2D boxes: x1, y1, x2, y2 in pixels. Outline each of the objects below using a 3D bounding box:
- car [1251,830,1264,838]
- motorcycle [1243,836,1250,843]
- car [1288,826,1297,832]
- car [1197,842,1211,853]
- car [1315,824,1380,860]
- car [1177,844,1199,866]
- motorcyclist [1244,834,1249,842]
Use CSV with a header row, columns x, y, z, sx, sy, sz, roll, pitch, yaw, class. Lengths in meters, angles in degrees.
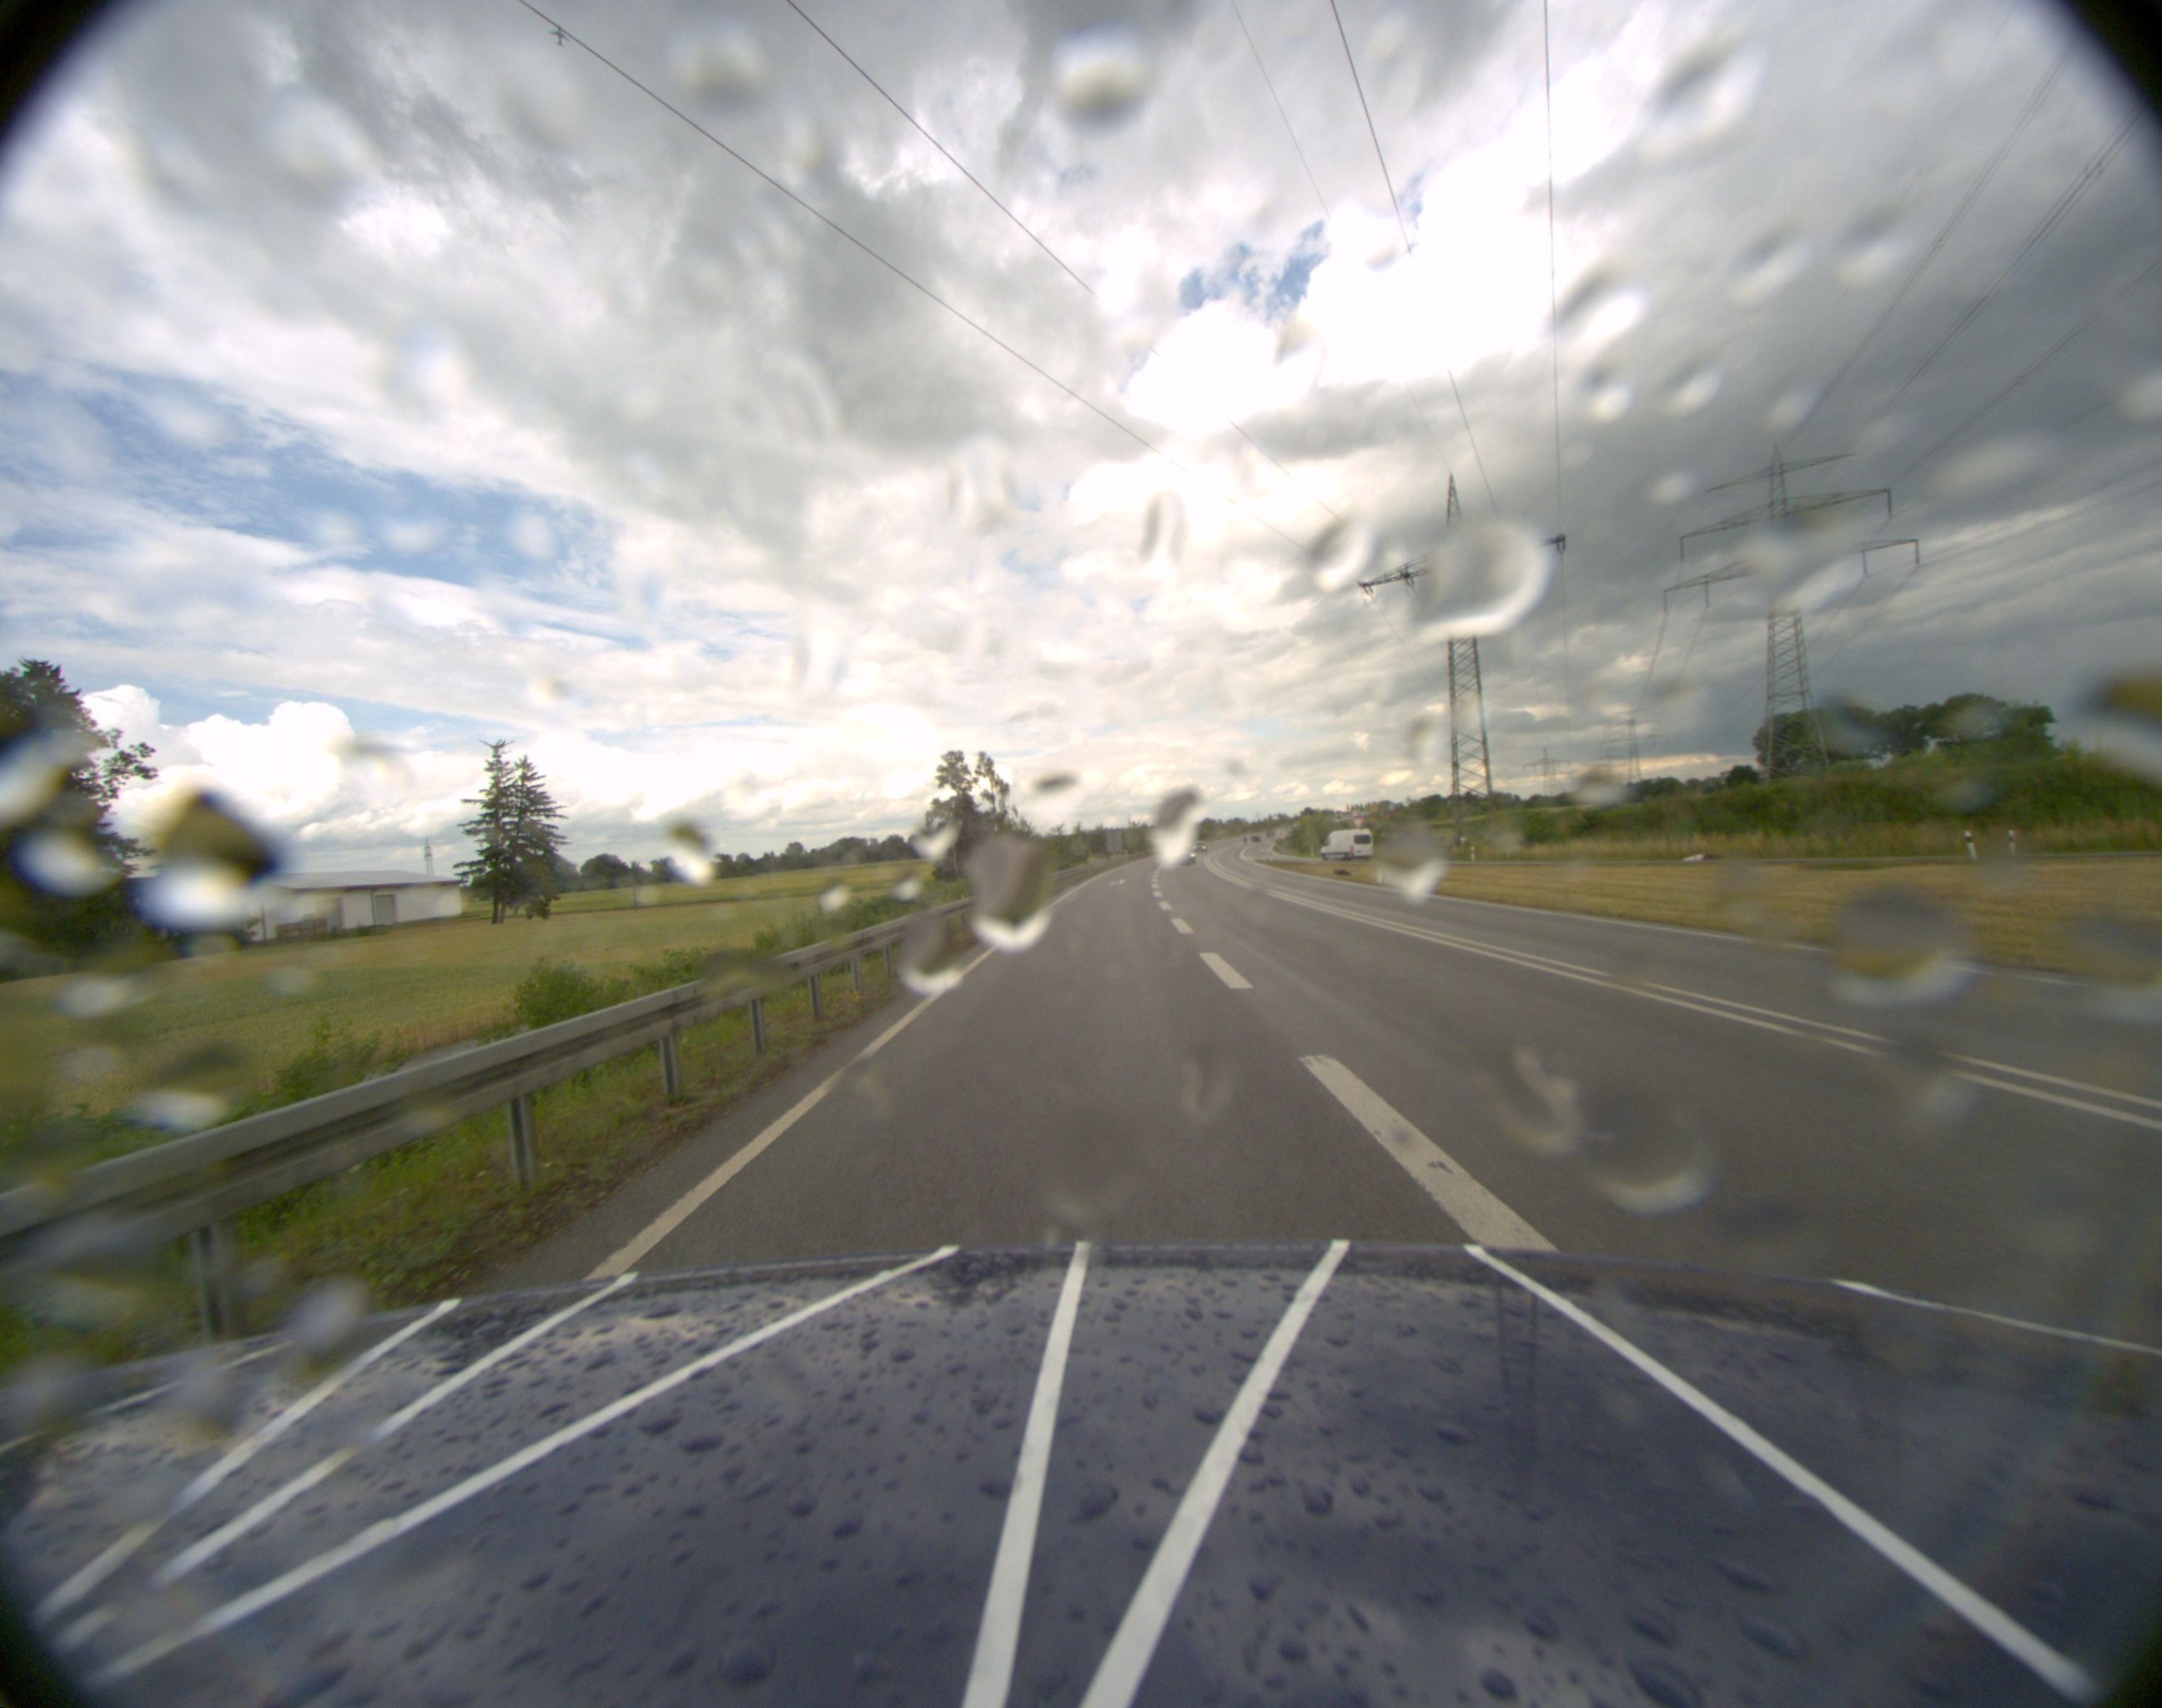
x,y,z,sx,sy,sz,roll,pitch,yaw,class
36.885,-4.143,158.491,1.801,1.585,4.231,-2,1,25,car
30.469,-2.695,139.901,0.803,1.231,2.188,-2,1,20,motorcycle
58.581,-6.857,210.566,1.706,1.472,4.616,-2,3,26,car
18.137,-0.952,112.128,1.747,1.488,4.053,-3,1,13,car
22.771,-0.994,65.223,2.215,2.734,6.014,-5,1,-12,car
9.584,0.093,68.296,1.795,1.758,4.001,-3,1,6,car
30.410,-2.973,139.823,0.803,1.526,0.825,-2,1,21,motorcyclist
